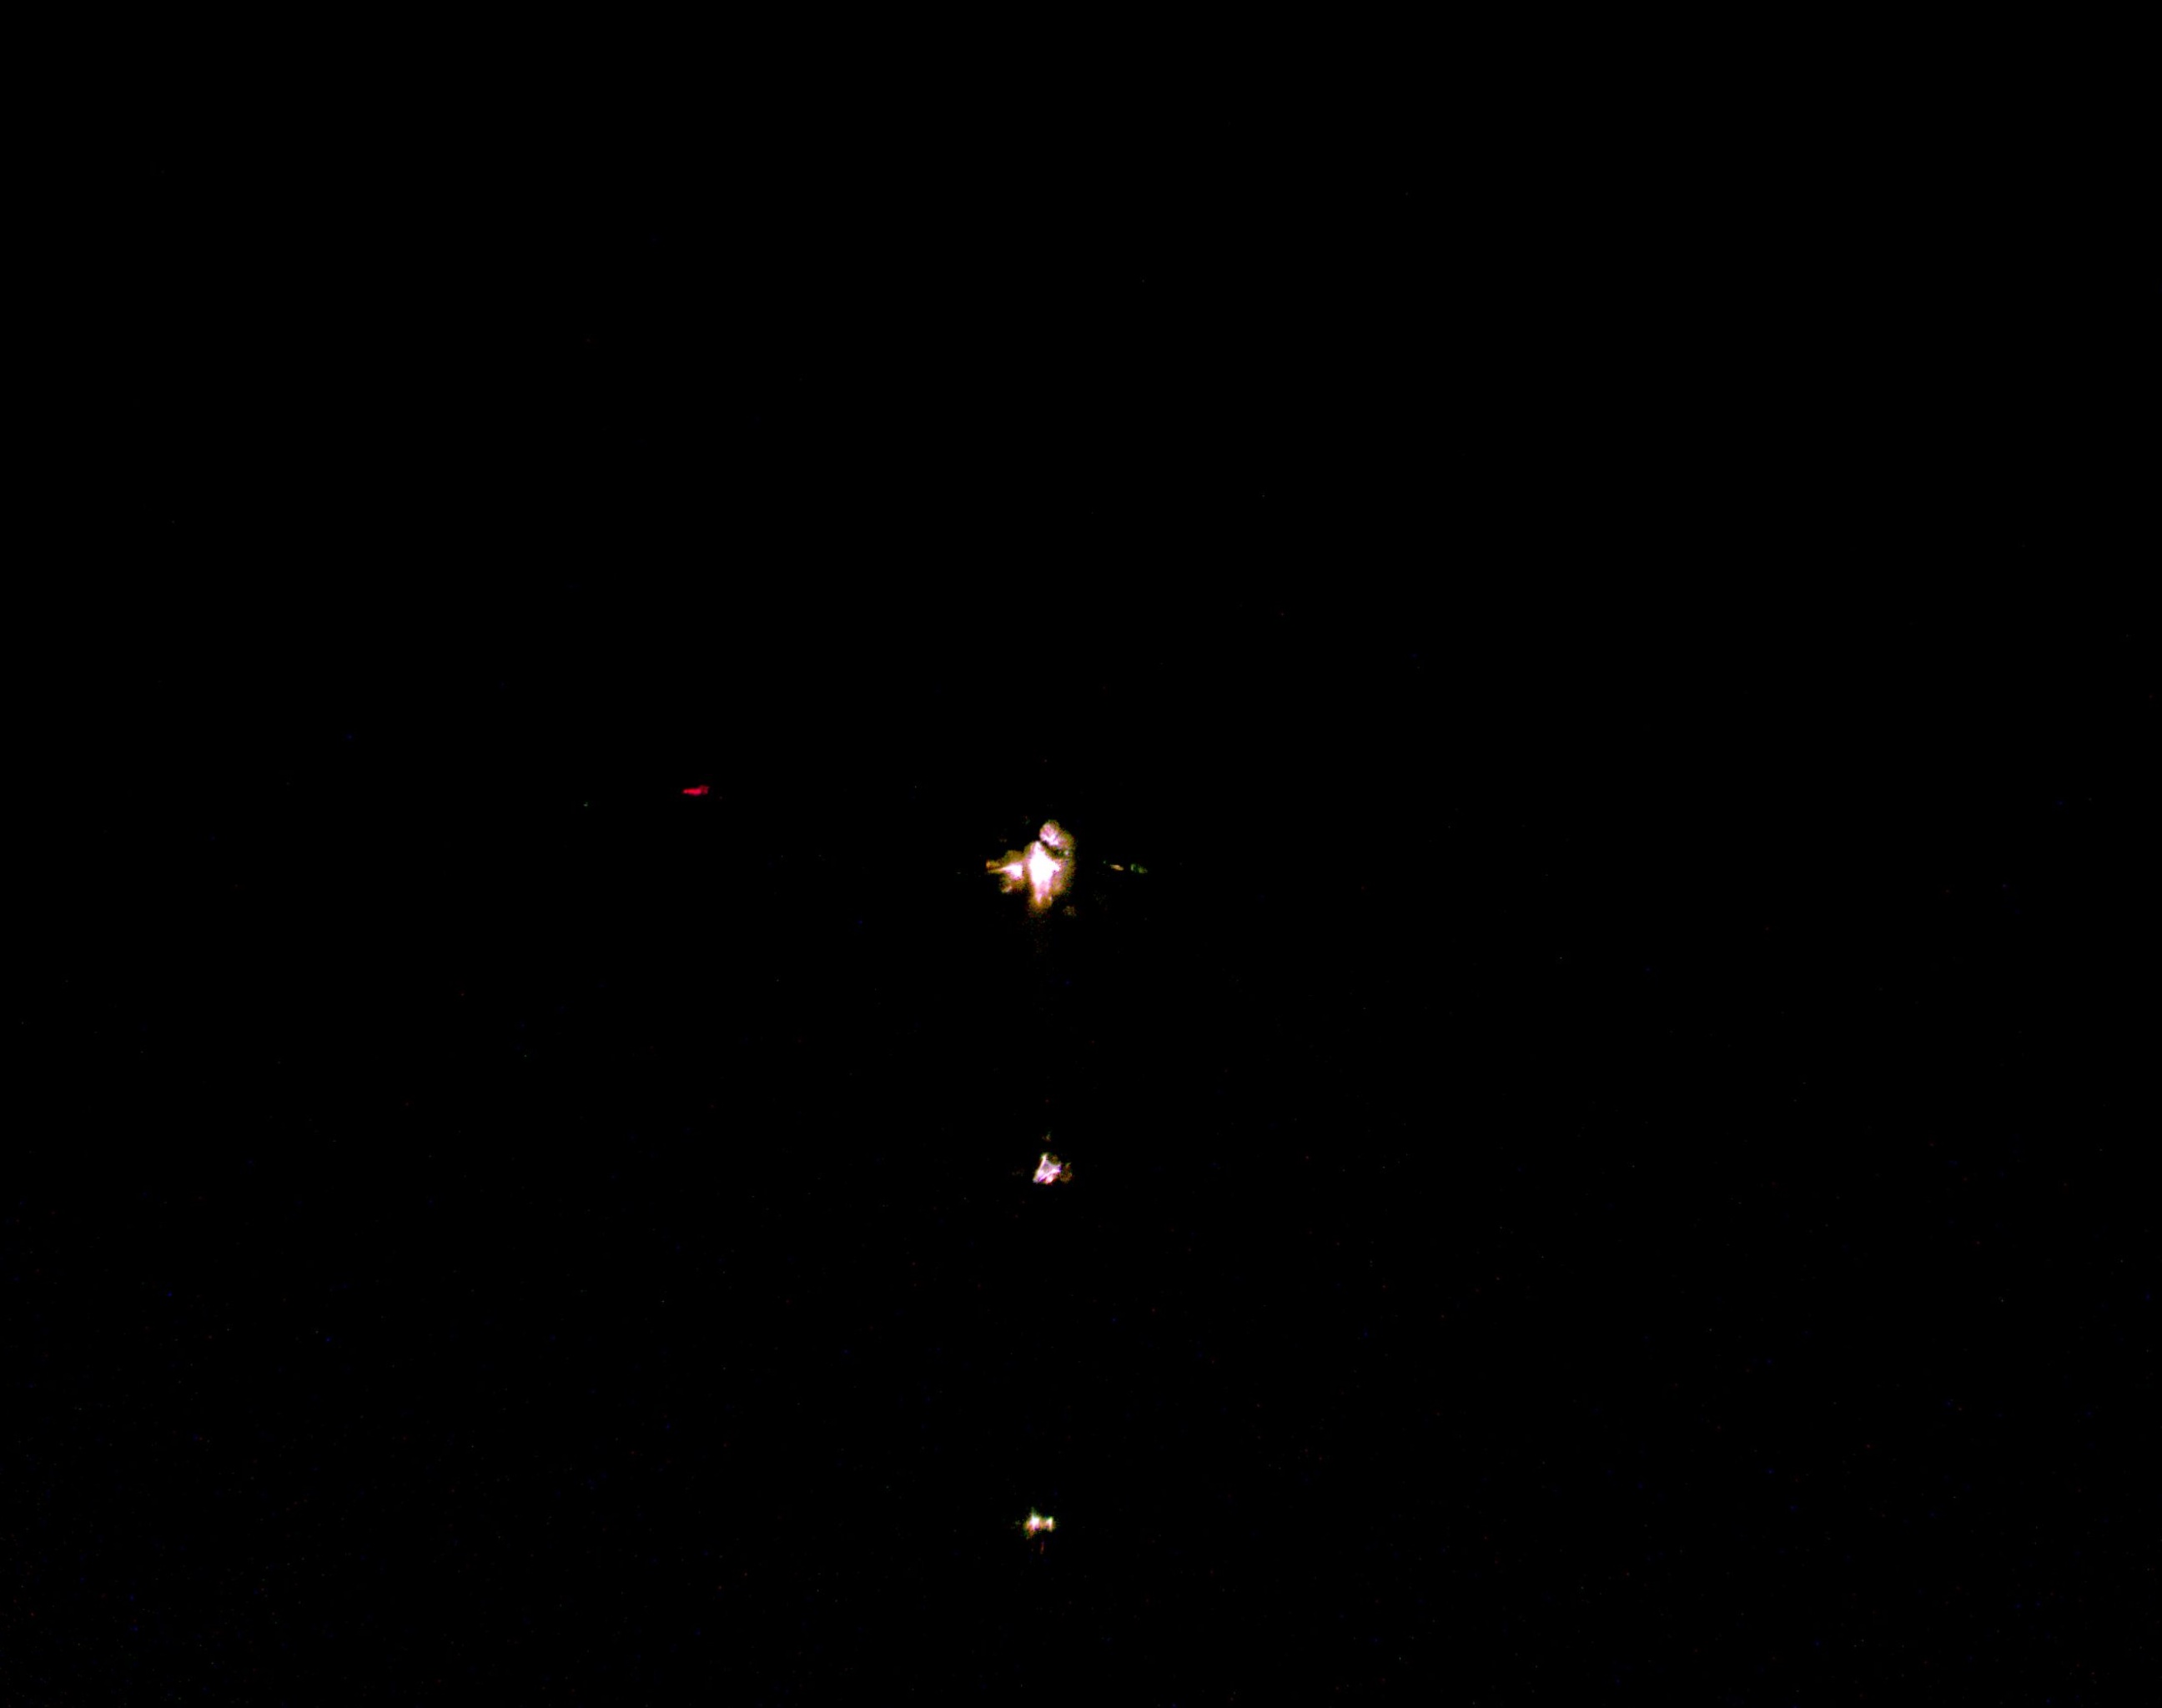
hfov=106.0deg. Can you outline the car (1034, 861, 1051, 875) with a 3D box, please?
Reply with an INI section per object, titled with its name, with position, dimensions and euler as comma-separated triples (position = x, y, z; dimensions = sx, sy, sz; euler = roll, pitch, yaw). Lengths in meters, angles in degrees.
[car]
position = -4.631, 1.671, 98.017
dimensions = 1.916, 1.646, 4.021
euler = -1, 0, -2
